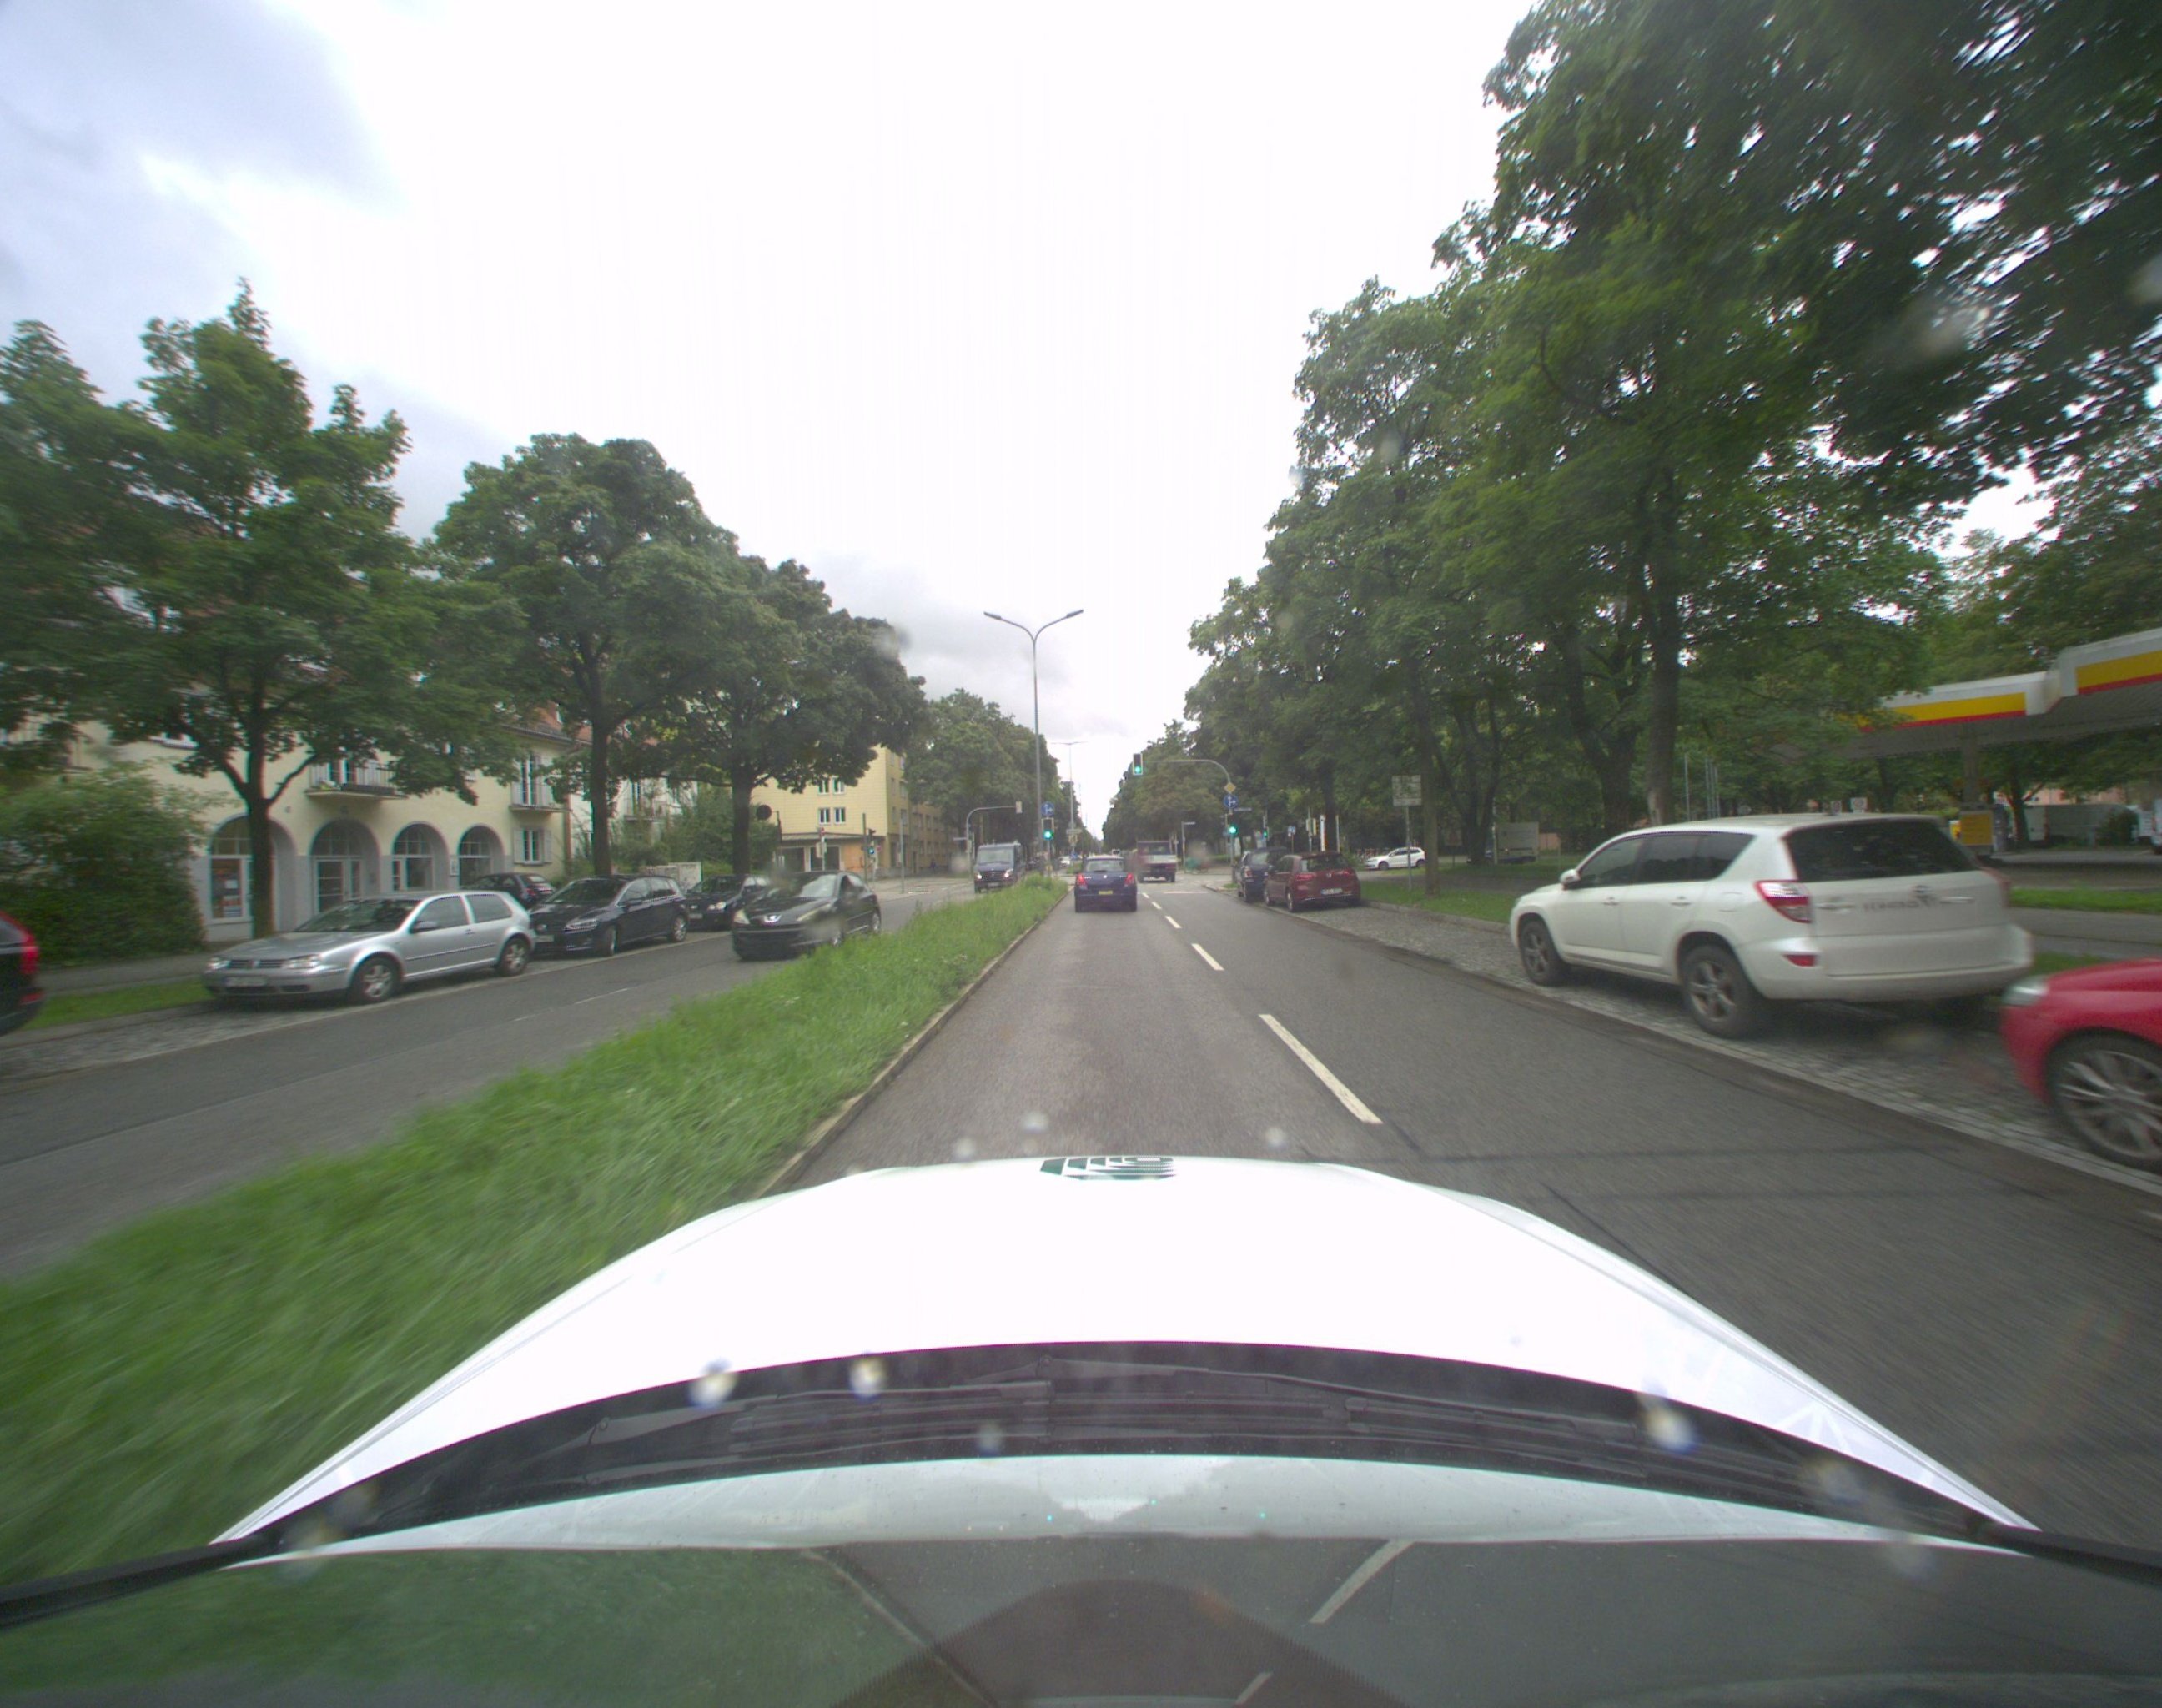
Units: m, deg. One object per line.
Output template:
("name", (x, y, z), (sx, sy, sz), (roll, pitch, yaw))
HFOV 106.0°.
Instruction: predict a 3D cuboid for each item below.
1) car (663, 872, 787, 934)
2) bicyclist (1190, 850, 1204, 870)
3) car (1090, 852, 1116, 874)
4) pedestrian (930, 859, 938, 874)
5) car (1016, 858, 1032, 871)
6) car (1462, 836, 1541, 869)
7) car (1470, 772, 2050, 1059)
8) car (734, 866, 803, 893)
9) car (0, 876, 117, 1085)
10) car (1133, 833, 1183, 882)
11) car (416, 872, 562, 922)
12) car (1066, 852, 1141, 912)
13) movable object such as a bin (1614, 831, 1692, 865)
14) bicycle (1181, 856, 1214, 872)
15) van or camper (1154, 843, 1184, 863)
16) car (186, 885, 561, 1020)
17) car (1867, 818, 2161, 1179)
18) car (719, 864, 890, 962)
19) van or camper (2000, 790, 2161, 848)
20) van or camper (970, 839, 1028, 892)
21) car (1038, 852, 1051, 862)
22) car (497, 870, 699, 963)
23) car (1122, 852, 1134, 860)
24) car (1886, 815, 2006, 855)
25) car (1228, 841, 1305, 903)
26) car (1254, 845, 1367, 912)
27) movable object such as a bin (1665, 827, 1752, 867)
("car", (-9.770, 1.285, 22.663), (1.557, 1.450, 3.841), (1, 0, 3))
("bicyclist", (8.555, 0.431, 60.101), (0.927, 1.479, 0.991), (-1, 0, 3))
("car", (1.646, 0.636, 59.868), (1.792, 1.499, 3.661), (-2, 0, 2))
("pedestrian", (-14.807, 1.242, 82.100), (0.626, 1.440, 0.806), (-1, -1, 2))
("car", (-7.030, 1.293, 100.761), (1.630, 1.442, 3.736), (-3, 0, 2))
("car", (26.099, -0.099, 50.653), (3.858, 1.610, 1.937), (-6, 0, 8))
("car", (5.694, 0.416, 7.798), (1.754, 1.830, 4.530), (-4, 0, 1))
("car", (-20.573, 1.682, 53.691), (3.859, 1.562, 1.669), (-2, 0, -5))
("car", (-10.120, 1.105, 5.293), (1.792, 1.763, 5.053), (1, 0, -2))
("car", (4.054, 0.173, 43.744), (2.408, 2.444, 5.091), (-1, 0, 3))
("car", (-19.952, 1.437, 27.556), (3.622, 1.462, 1.671), (-2, 0, -1))
("car", (0.557, 0.724, 22.998), (1.891, 1.499, 3.658), (-1, 0, -2))
("movable object such as a bin", (23.117, -0.252, 32.984), (2.052, 1.263, 1.532), (-2, 0, 1))
("bicycle", (8.575, 0.750, 60.100), (2.288, 1.114, 0.997), (-1, 0, 2))
("van or camper", (8.219, -0.062, 76.433), (2.119, 1.794, 4.504), (-1, 0, -2))
("car", (-10.037, 1.291, 12.127), (1.660, 1.445, 4.376), (1, 0, 1))
("car", (5.533, 0.607, 2.748), (1.754, 1.506, 4.145), (-4, 0, 1))
("car", (-4.933, 0.969, 15.181), (1.732, 1.442, 4.102), (-3, 0, 0))
("van or camper", (52.321, -1.783, 42.618), (5.060, 2.361, 2.567), (-6, 0, 8))
("van or camper", (-3.884, 0.514, 39.627), (2.016, 2.260, 6.022), (-3, 0, 1))
("car", (-5.653, 0.514, 126.243), (1.630, 1.442, 3.736), (-3, 0, 2))
("car", (-9.872, 1.188, 17.096), (1.661, 1.562, 4.297), (-2, 0, -1))
("car", (8.634, 0.405, 150.020), (1.781, 1.499, 3.658), (-1, 0, -2))
("car", (45.614, -0.996, 43.024), (4.008, 1.610, 1.773), (-6, 0, 8))
("car", (5.947, 0.520, 26.521), (1.754, 1.658, 4.290), (-6, 0, 6))
("car", (5.987, 0.578, 21.744), (1.707, 1.424, 4.283), (-6, 0, 0))
("movable object such as a bin", (25.338, -0.276, 32.948), (2.053, 1.486, 1.838), (-2, 0, 1))
